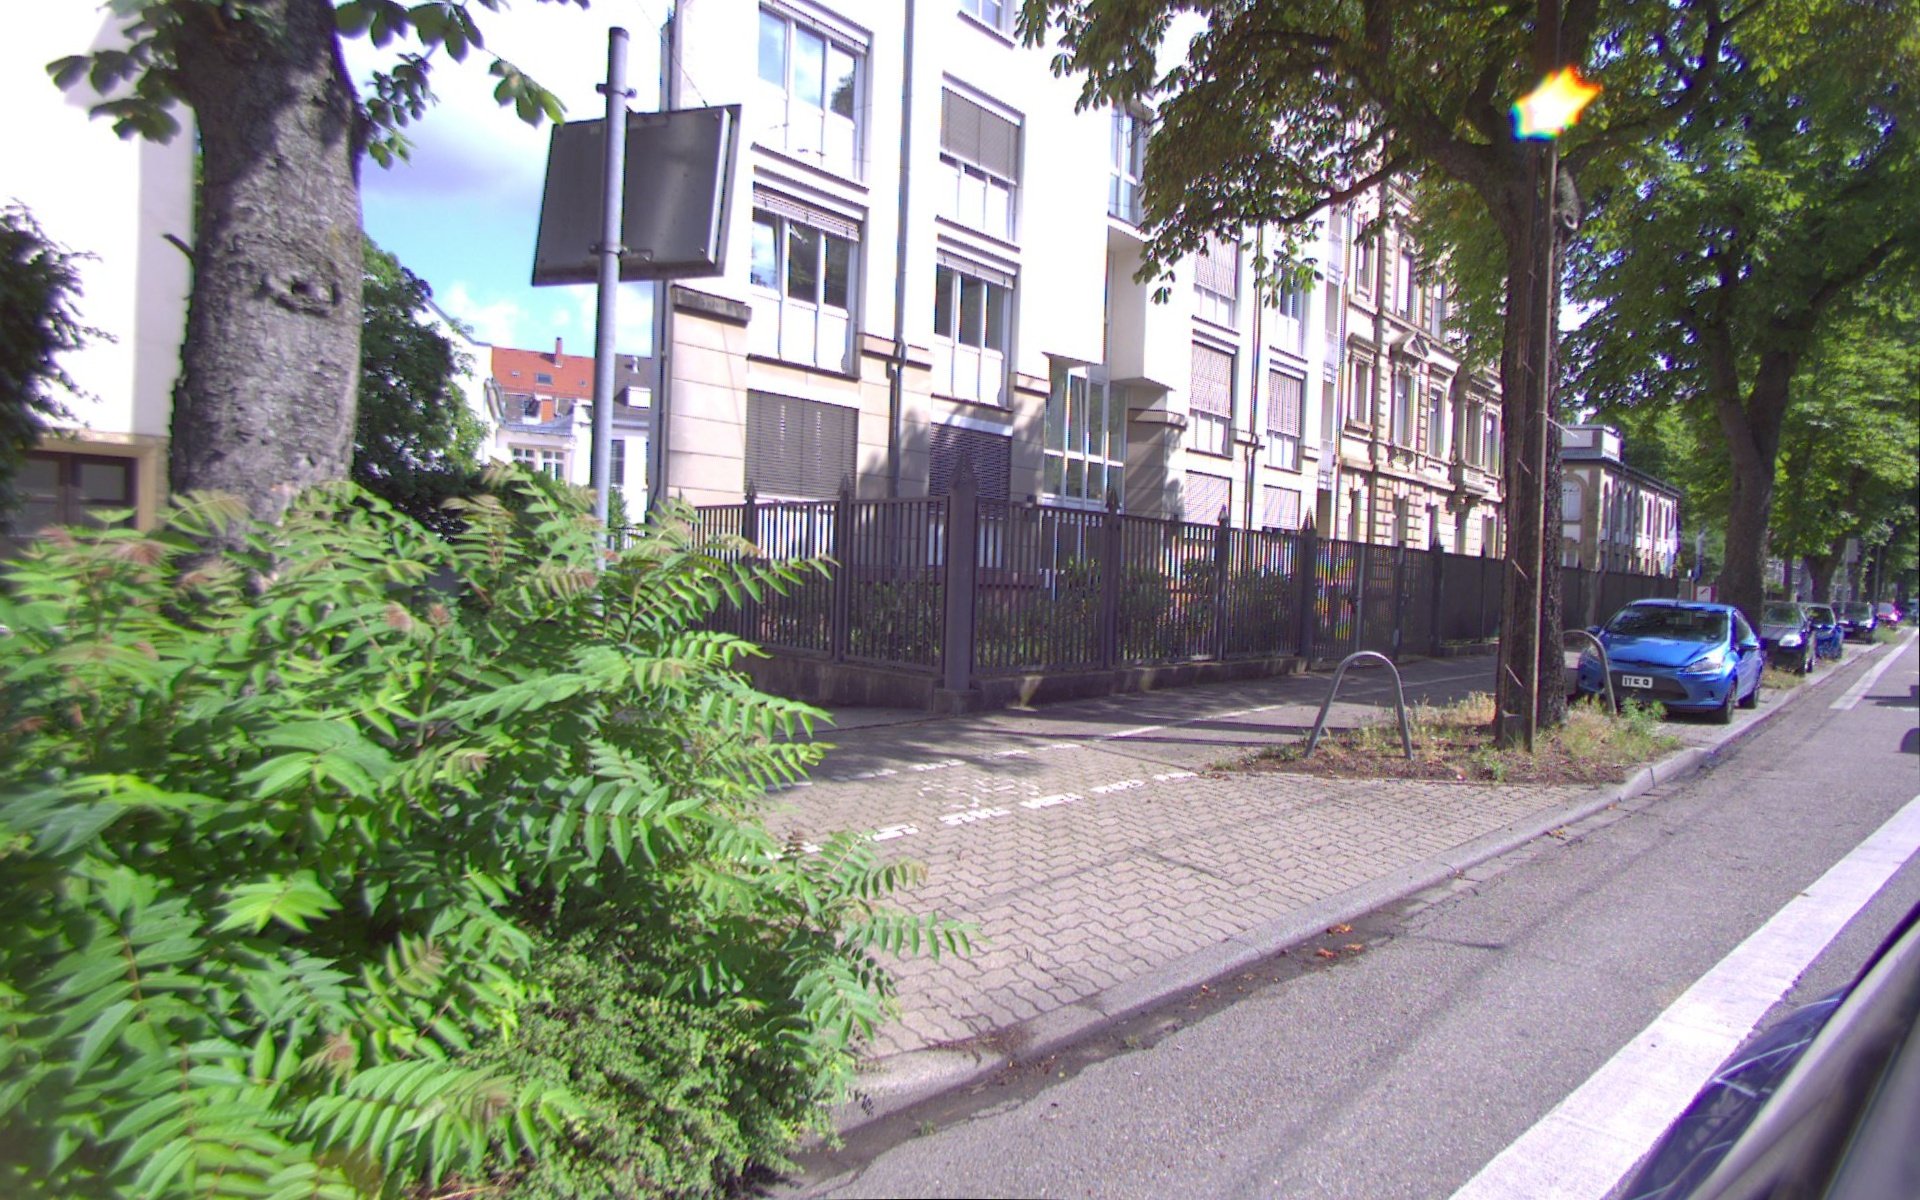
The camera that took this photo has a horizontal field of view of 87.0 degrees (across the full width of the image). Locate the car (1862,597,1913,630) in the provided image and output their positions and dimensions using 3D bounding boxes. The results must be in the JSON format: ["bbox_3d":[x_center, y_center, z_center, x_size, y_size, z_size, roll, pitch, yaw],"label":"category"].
[{"bbox_3d":[51.355,0.728,56.002,4.131,1.591,1.772,0,4,-45],"label":"car"}]

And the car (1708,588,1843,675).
[{"bbox_3d":[16.933,0.593,20.968,3.562,1.526,1.643,0,4,-44],"label":"car"}]

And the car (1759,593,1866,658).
[{"bbox_3d":[22.525,0.621,26.689,3.861,1.469,1.722,0,4,-44],"label":"car"}]

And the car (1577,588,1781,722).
[{"bbox_3d":[9.825,0.636,13.733,1.639,1.472,3.639,6,4,44],"label":"car"}]

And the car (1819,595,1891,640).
[{"bbox_3d":[35.467,0.646,40.069,4.131,1.549,1.772,0,4,-45],"label":"car"}]
